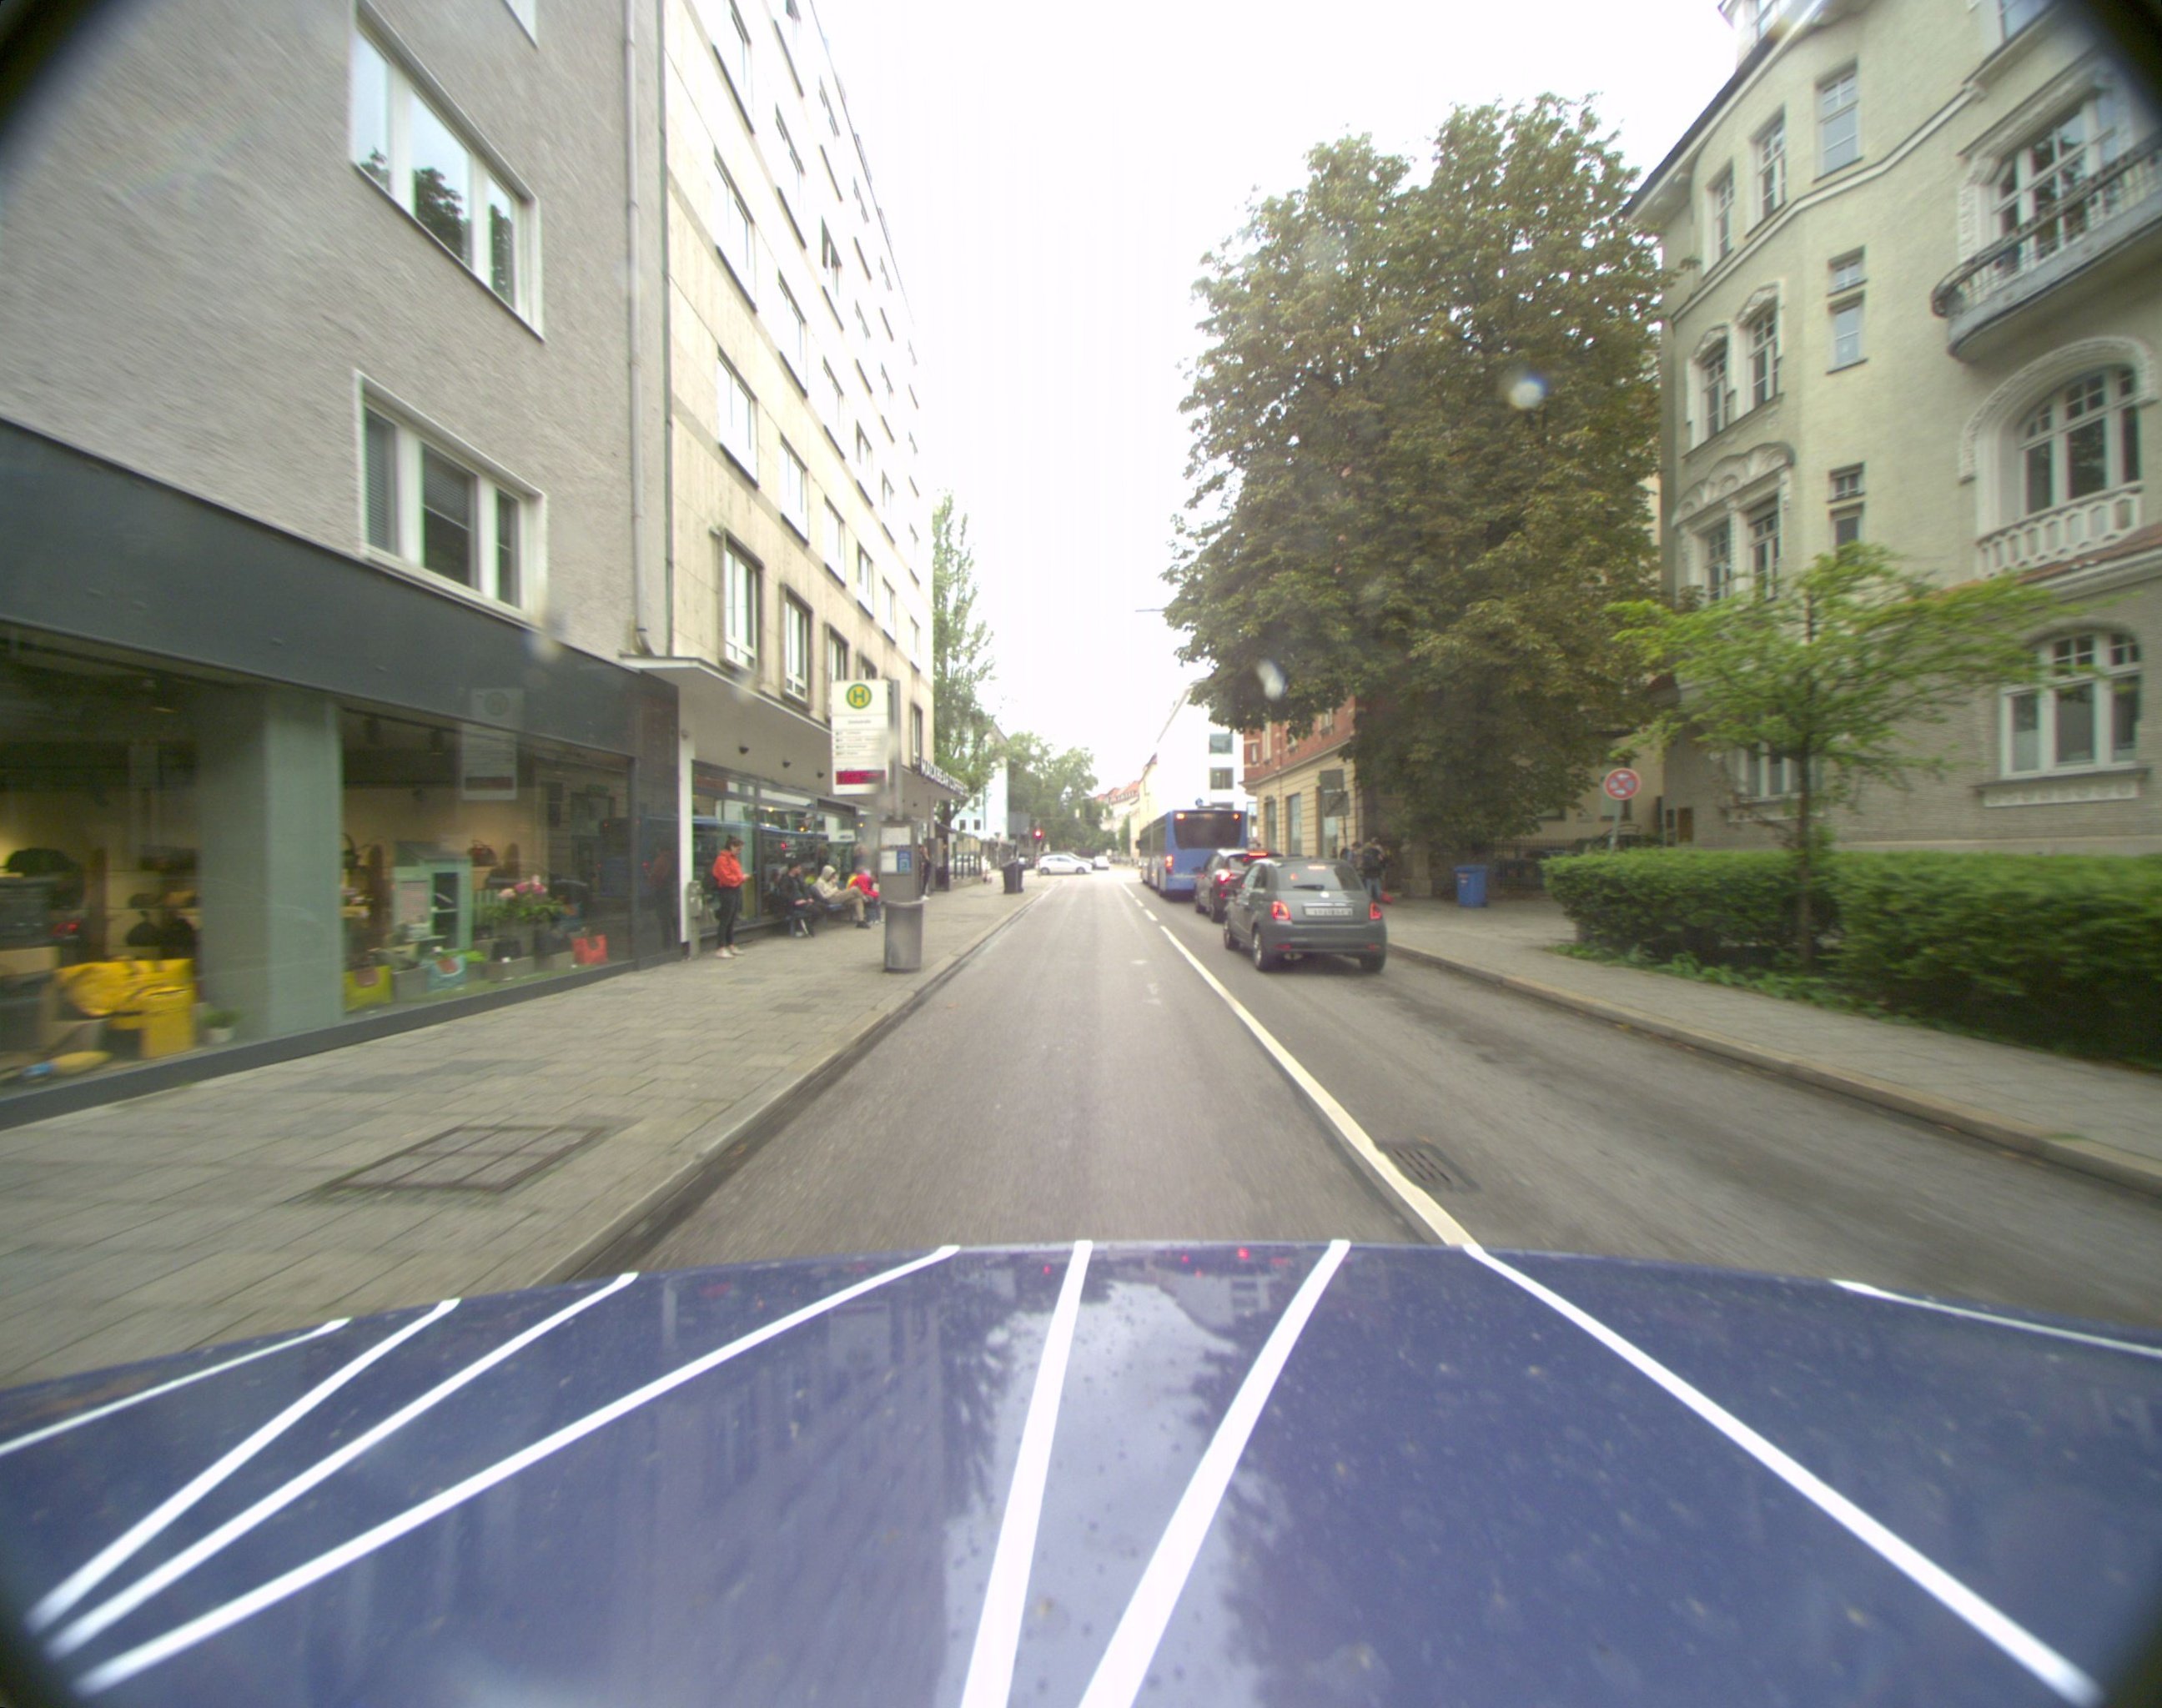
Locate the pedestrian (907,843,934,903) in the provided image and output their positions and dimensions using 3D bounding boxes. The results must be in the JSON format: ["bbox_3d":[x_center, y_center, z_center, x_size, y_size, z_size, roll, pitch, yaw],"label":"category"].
[{"bbox_3d":[-4.936,0.579,23.388,0.659,1.812,0.696,0,1,2],"label":"pedestrian"}]

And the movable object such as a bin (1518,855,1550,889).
[{"bbox_3d":[15.256,0.599,25.602,0.623,1.080,0.813,-1,1,6],"label":"movable object such as a bin"}]

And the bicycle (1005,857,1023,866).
[{"bbox_3d":[-8.292,0.938,93.751,2.124,1.110,0.629,0,1,-9],"label":"bicycle"}]

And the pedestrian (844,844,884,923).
[{"bbox_3d":[-4.844,0.643,16.996,0.659,1.723,0.684,0,1,2],"label":"pedestrian"}]

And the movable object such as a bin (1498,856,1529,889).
[{"bbox_3d":[14.572,0.616,25.597,0.623,1.080,0.813,-1,1,6],"label":"movable object such as a bin"}]

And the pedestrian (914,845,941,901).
[{"bbox_3d":[-4.879,0.598,24.156,0.659,1.773,0.771,0,1,2],"label":"pedestrian"}]

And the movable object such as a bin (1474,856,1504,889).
[{"bbox_3d":[13.800,0.624,25.717,0.623,1.080,0.813,-1,1,6],"label":"movable object such as a bin"}]

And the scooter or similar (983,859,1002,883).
[{"bbox_3d":[-4.648,0.866,39.882,0.563,1.234,1.445,0,1,12],"label":"scooter or similar"}]

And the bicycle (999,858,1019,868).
[{"bbox_3d":[-8.108,1.030,85.641,2.124,1.110,0.738,0,1,-9],"label":"bicycle"}]

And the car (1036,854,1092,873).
[{"bbox_3d":[-1.237,0.705,57.550,4.168,1.420,2.000,0,0,0],"label":"car"}]

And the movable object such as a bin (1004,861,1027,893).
[{"bbox_3d":[-2.612,0.906,30.362,0.877,1.243,0.798,0,1,-4],"label":"movable object such as a bin"}]

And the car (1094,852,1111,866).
[{"bbox_3d":[2.474,0.572,88.868,1.927,1.608,4.000,-1,0,1],"label":"car"}]

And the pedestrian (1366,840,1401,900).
[{"bbox_3d":[8.946,0.452,22.445,0.784,1.735,0.877,0,1,33],"label":"pedestrian"}]

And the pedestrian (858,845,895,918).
[{"bbox_3d":[-4.938,0.648,18.395,0.659,1.723,0.778,0,1,2],"label":"pedestrian"}]

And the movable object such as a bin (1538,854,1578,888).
[{"bbox_3d":[16.057,0.569,25.582,0.856,1.085,0.813,-1,1,5],"label":"movable object such as a bin"}]

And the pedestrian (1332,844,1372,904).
[{"bbox_3d":[7.958,0.572,22.338,0.875,1.735,0.910,0,1,1],"label":"pedestrian"}]

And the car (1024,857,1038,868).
[{"bbox_3d":[-7.286,1.202,110.640,1.718,1.543,4.000,0,0,0],"label":"car"}]

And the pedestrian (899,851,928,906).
[{"bbox_3d":[-4.889,0.700,22.171,0.659,1.584,0.696,0,1,2],"label":"pedestrian"}]

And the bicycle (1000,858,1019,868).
[{"bbox_3d":[-8.308,1.012,88.478,2.124,1.110,0.629,0,1,-9],"label":"bicycle"}]

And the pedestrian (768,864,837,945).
[{"bbox_3d":[-4.813,0.849,13.185,0.862,1.344,0.862,0,1,2],"label":"pedestrian"}]

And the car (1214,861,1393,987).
[{"bbox_3d":[3.039,0.871,11.127,1.588,1.471,3.782,0,0,1],"label":"car"}]

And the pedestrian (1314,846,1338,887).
[{"bbox_3d":[9.244,0.468,28.672,0.625,1.529,0.754,0,1,-1],"label":"pedestrian"}]

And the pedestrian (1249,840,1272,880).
[{"bbox_3d":[9.136,0.279,38.743,0.832,2.002,0.778,-1,1,-41],"label":"pedestrian"}]

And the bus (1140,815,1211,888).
[{"bbox_3d":[4.323,-0.131,36.539,2.585,3.083,9.108,0,0,2],"label":"bus"}]

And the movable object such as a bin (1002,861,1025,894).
[{"bbox_3d":[-2.625,0.900,29.518,0.877,1.243,0.798,0,1,-4],"label":"movable object such as a bin"}]

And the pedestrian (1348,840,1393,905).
[{"bbox_3d":[7.825,0.496,20.590,0.910,1.735,0.847,0,1,1],"label":"pedestrian"}]

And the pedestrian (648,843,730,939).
[{"bbox_3d":[-5.812,0.534,11.316,0.772,1.380,0.843,0,1,1],"label":"pedestrian"}]

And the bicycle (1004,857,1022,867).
[{"bbox_3d":[-8.170,0.972,91.832,2.124,1.110,0.629,0,1,-9],"label":"bicycle"}]

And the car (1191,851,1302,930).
[{"bbox_3d":[3.715,0.745,17.803,1.772,1.635,4.274,0,0,1],"label":"car"}]

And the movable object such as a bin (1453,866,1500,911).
[{"bbox_3d":[9.858,0.843,18.963,0.813,1.080,0.623,-1,1,-8],"label":"movable object such as a bin"}]

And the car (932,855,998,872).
[{"bbox_3d":[-9.983,0.815,65.719,5.440,1.420,2.000,0,0,0],"label":"car"}]

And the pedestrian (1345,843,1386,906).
[{"bbox_3d":[8.011,0.572,21.447,0.875,1.735,0.786,0,1,1],"label":"pedestrian"}]

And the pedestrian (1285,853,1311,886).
[{"bbox_3d":[8.843,0.618,31.005,0.830,1.333,0.754,0,1,-1],"label":"pedestrian"}]

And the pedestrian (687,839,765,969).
[{"bbox_3d":[-4.888,0.666,10.504,0.704,1.723,0.746,0,1,2],"label":"pedestrian"}]

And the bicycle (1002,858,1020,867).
[{"bbox_3d":[-8.266,1.008,89.506,2.124,1.110,0.629,0,1,-9],"label":"bicycle"}]

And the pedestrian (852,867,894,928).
[{"bbox_3d":[-4.351,0.904,15.913,0.709,1.230,0.585,0,1,2],"label":"pedestrian"}]

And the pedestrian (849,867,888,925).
[{"bbox_3d":[-4.593,0.898,16.422,0.681,1.230,0.496,0,1,2],"label":"pedestrian"}]

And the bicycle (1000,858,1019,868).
[{"bbox_3d":[-8.103,1.034,86.568,2.124,1.110,0.738,0,1,-9],"label":"bicycle"}]

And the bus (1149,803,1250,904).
[{"bbox_3d":[3.992,-0.034,27.556,2.585,3.083,8.923,0,0,2],"label":"bus"}]

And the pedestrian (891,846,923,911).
[{"bbox_3d":[-4.644,0.645,20.299,0.659,1.723,0.696,0,1,2],"label":"pedestrian"}]

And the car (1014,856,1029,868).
[{"bbox_3d":[-7.754,1.016,99.374,1.718,1.543,4.000,0,0,0],"label":"car"}]

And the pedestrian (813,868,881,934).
[{"bbox_3d":[-4.570,0.907,14.877,1.099,1.230,0.668,0,1,2],"label":"pedestrian"}]
